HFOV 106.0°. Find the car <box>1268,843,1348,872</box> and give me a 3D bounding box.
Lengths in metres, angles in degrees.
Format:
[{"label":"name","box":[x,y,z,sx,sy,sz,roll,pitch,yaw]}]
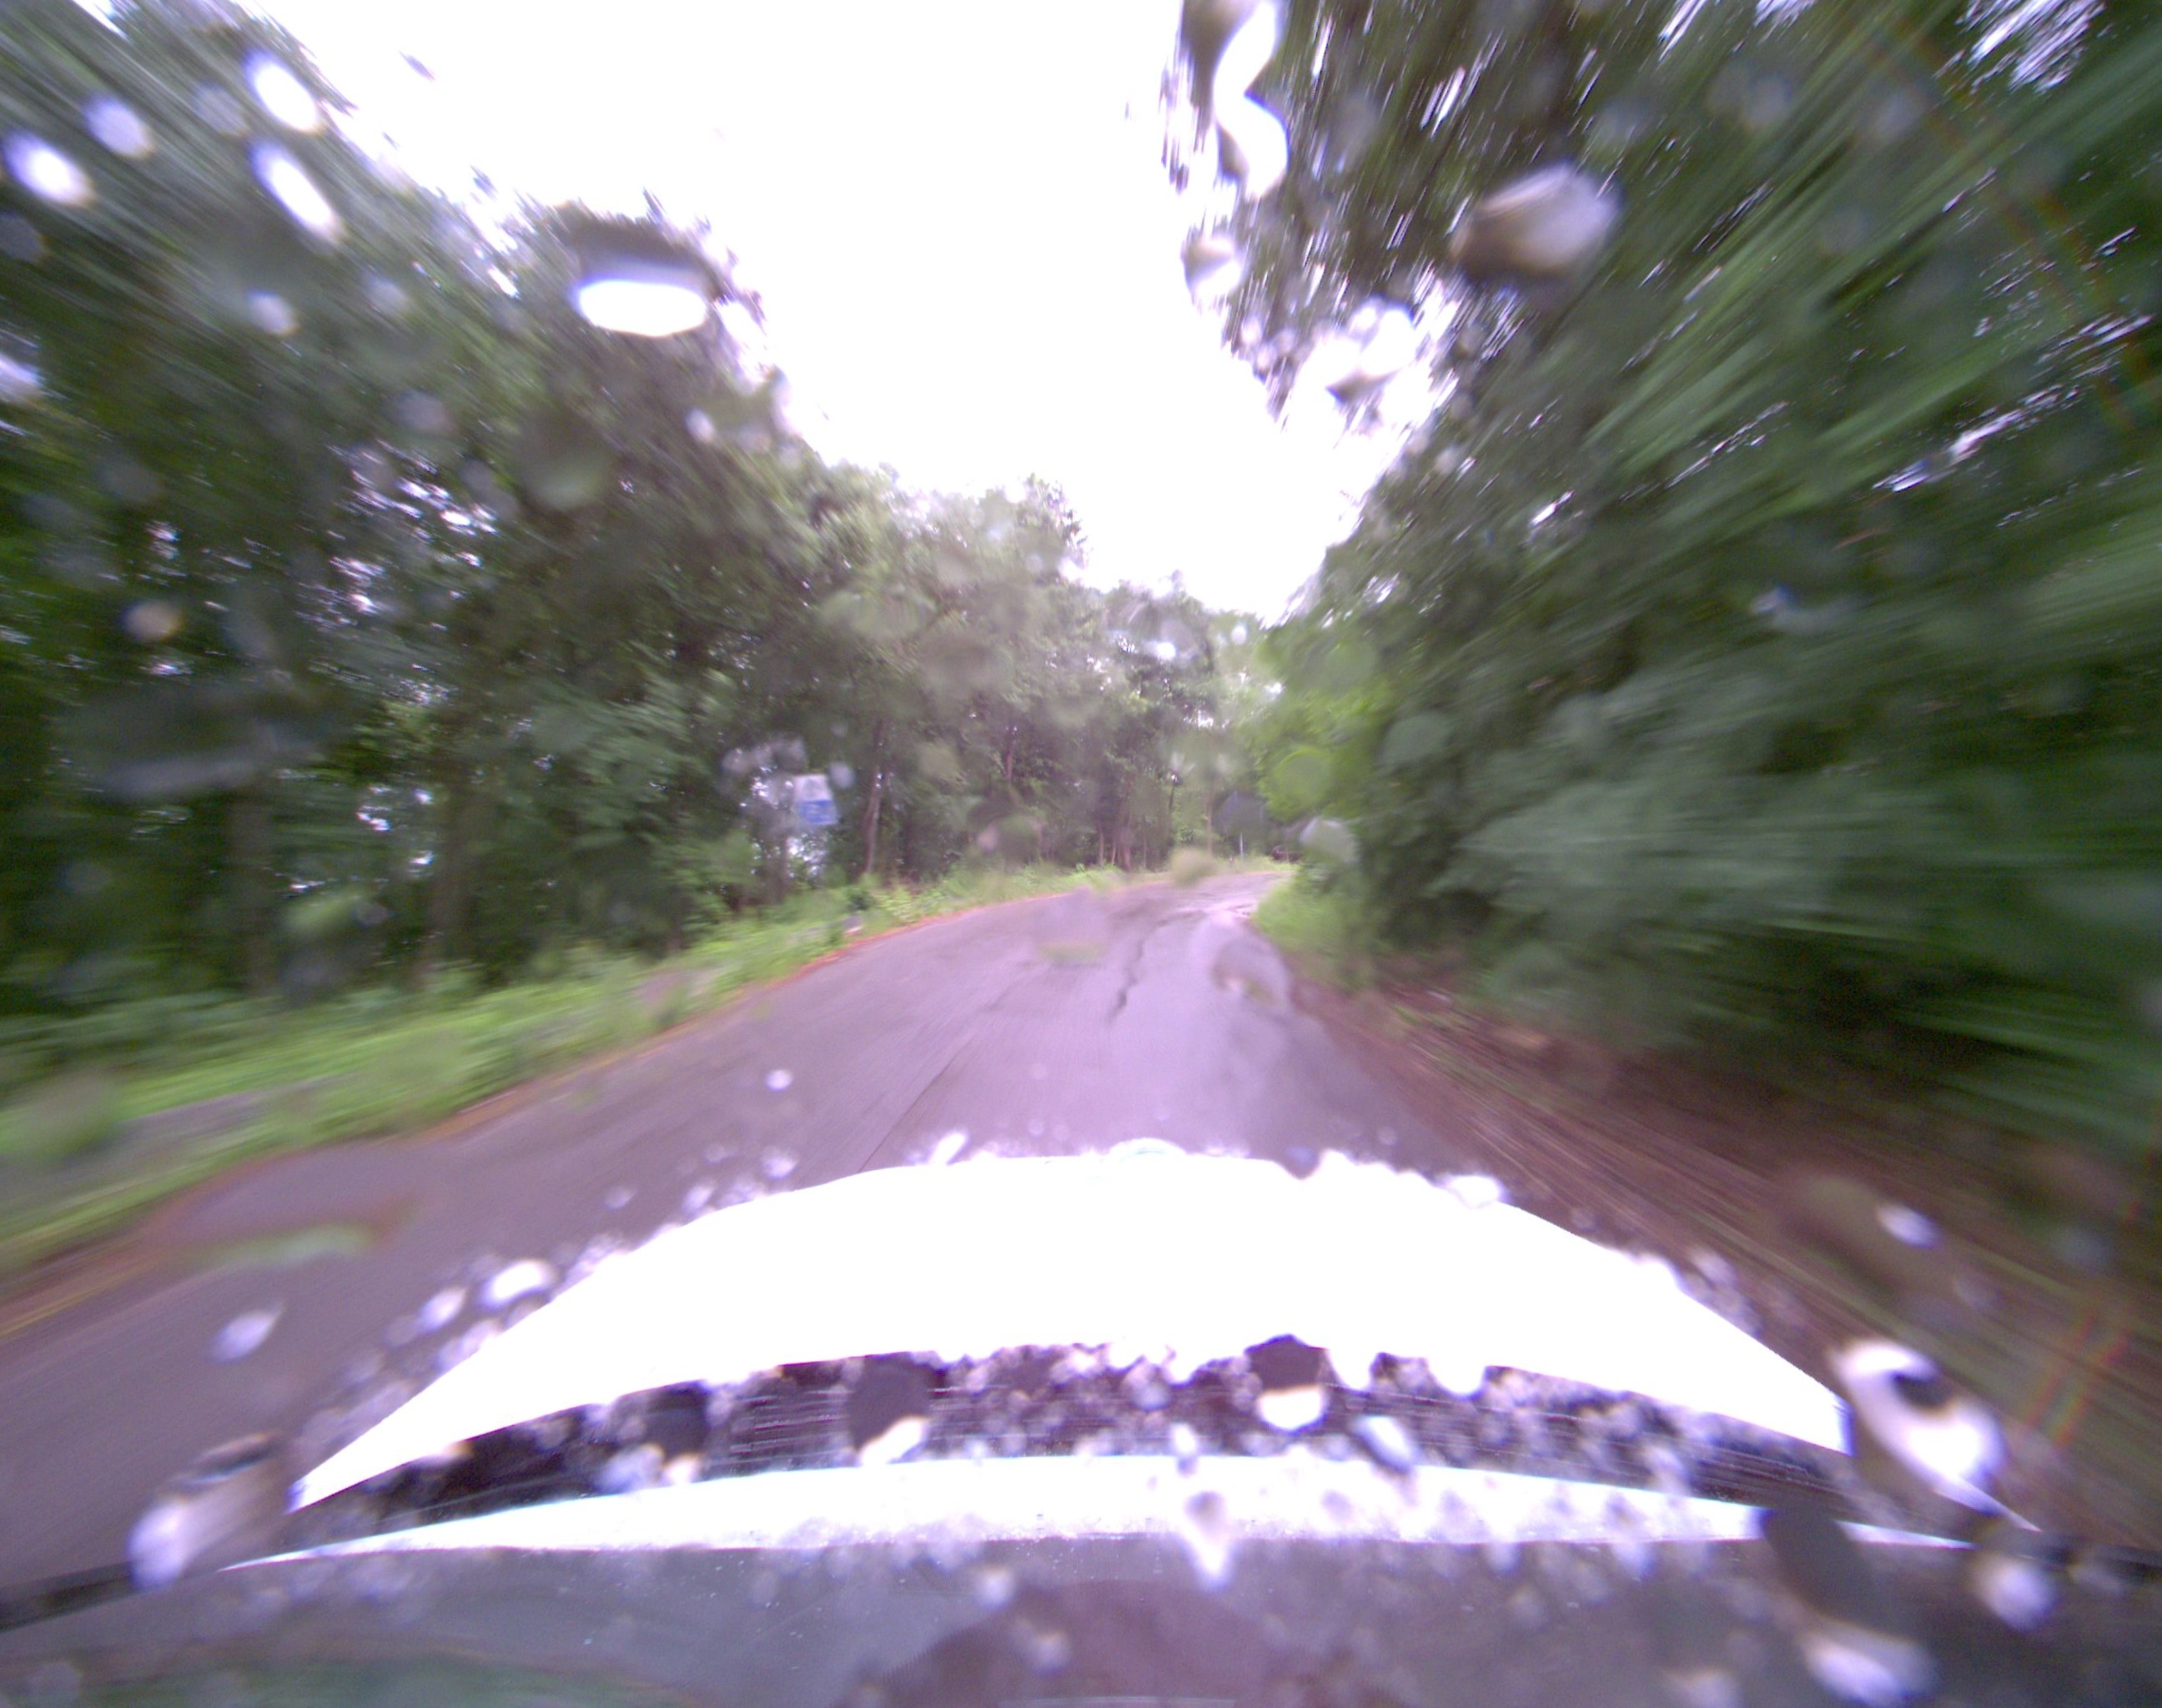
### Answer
[{"label":"car","box":[14.843,0.229,53.407,1.886,1.677,4.783,-4,0,-40]}]
